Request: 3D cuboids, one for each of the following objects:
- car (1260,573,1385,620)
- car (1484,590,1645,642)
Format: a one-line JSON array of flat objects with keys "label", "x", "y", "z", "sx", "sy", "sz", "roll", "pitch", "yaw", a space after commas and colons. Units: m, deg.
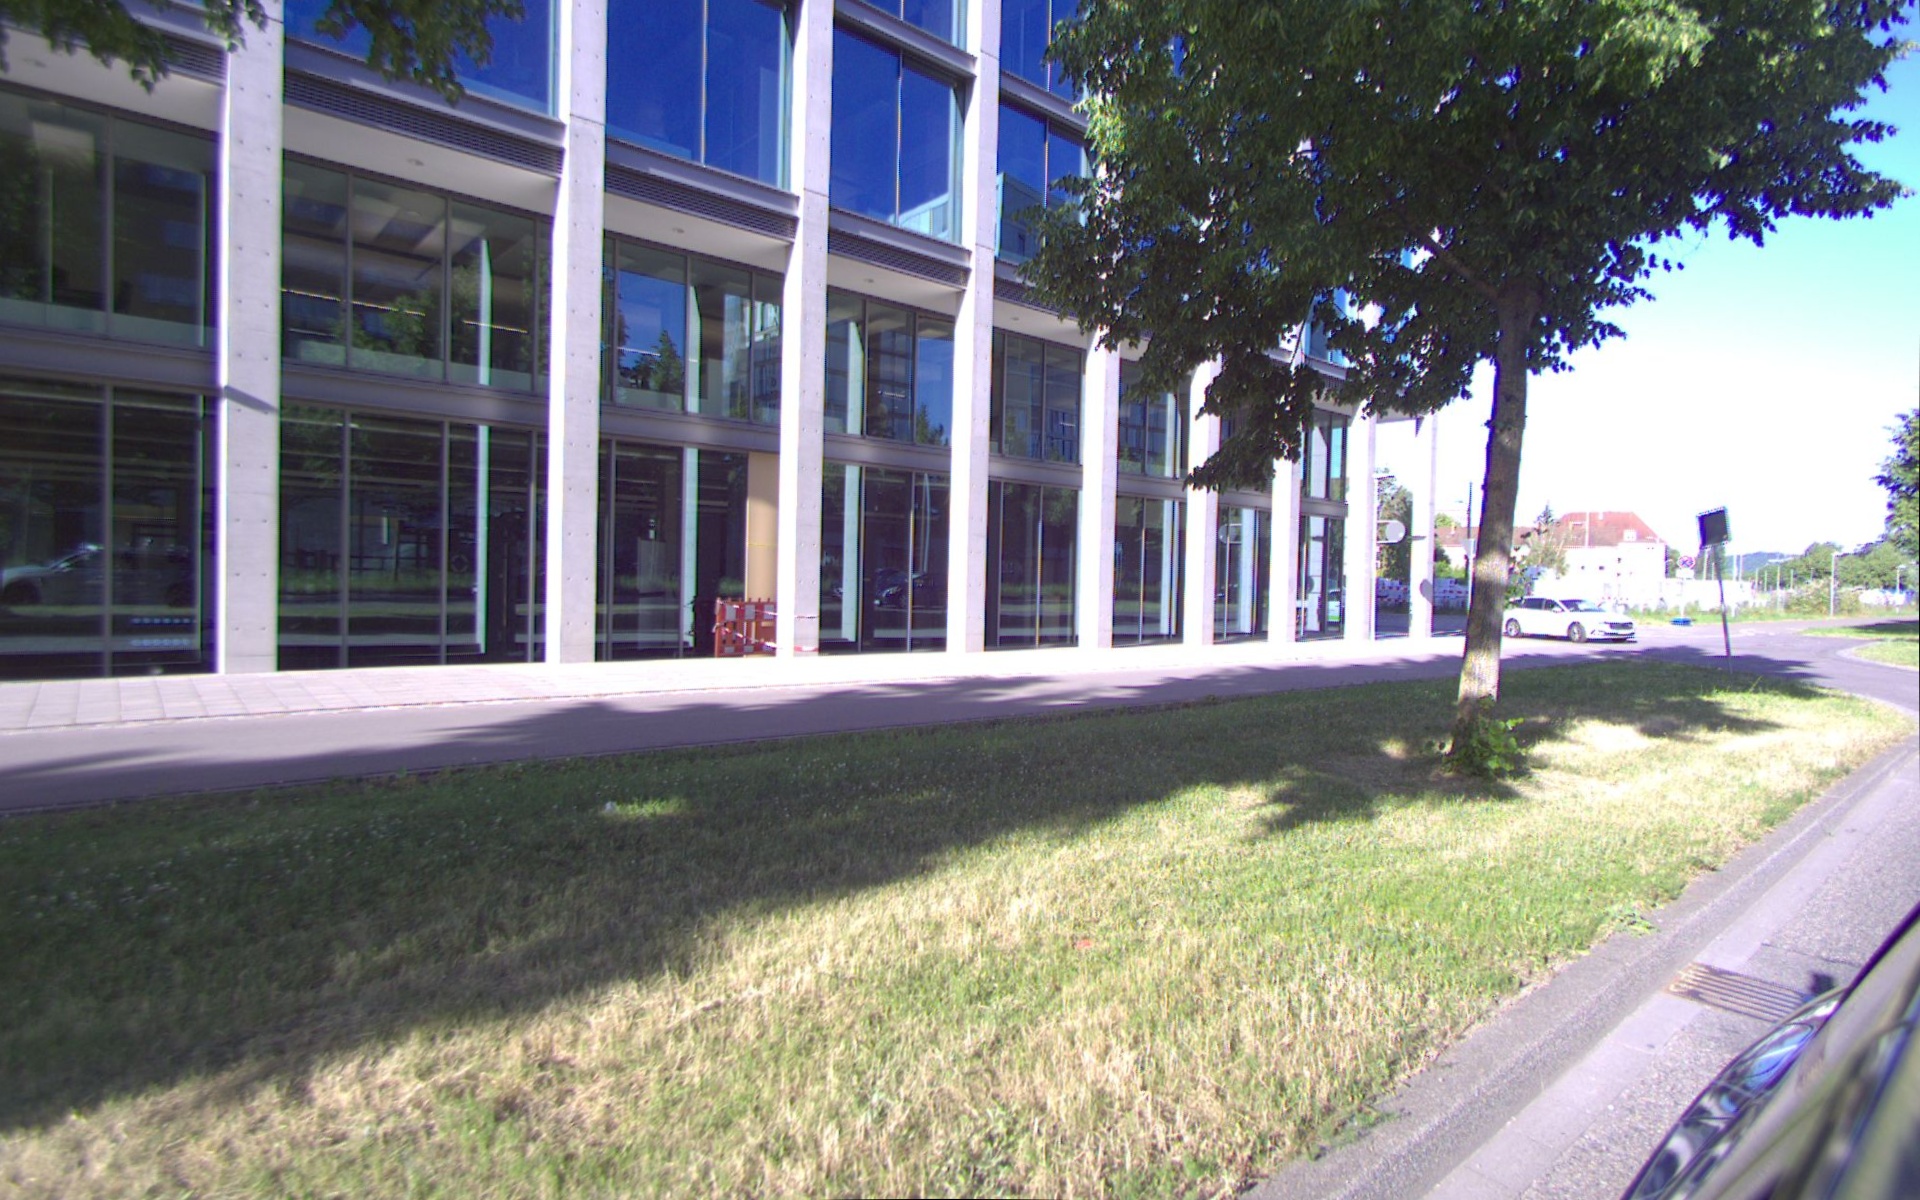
[{"label": "car", "x": 13.719, "y": -0.164, "z": 38.469, "sx": 1.963, "sy": 1.598, "sz": 3.998, "roll": 0, "pitch": 2, "yaw": -38}, {"label": "car", "x": 19.878, "y": 0.473, "z": 33.539, "sx": 1.767, "sy": 1.465, "sz": 4.579, "roll": 1, "pitch": 2, "yaw": -15}]
